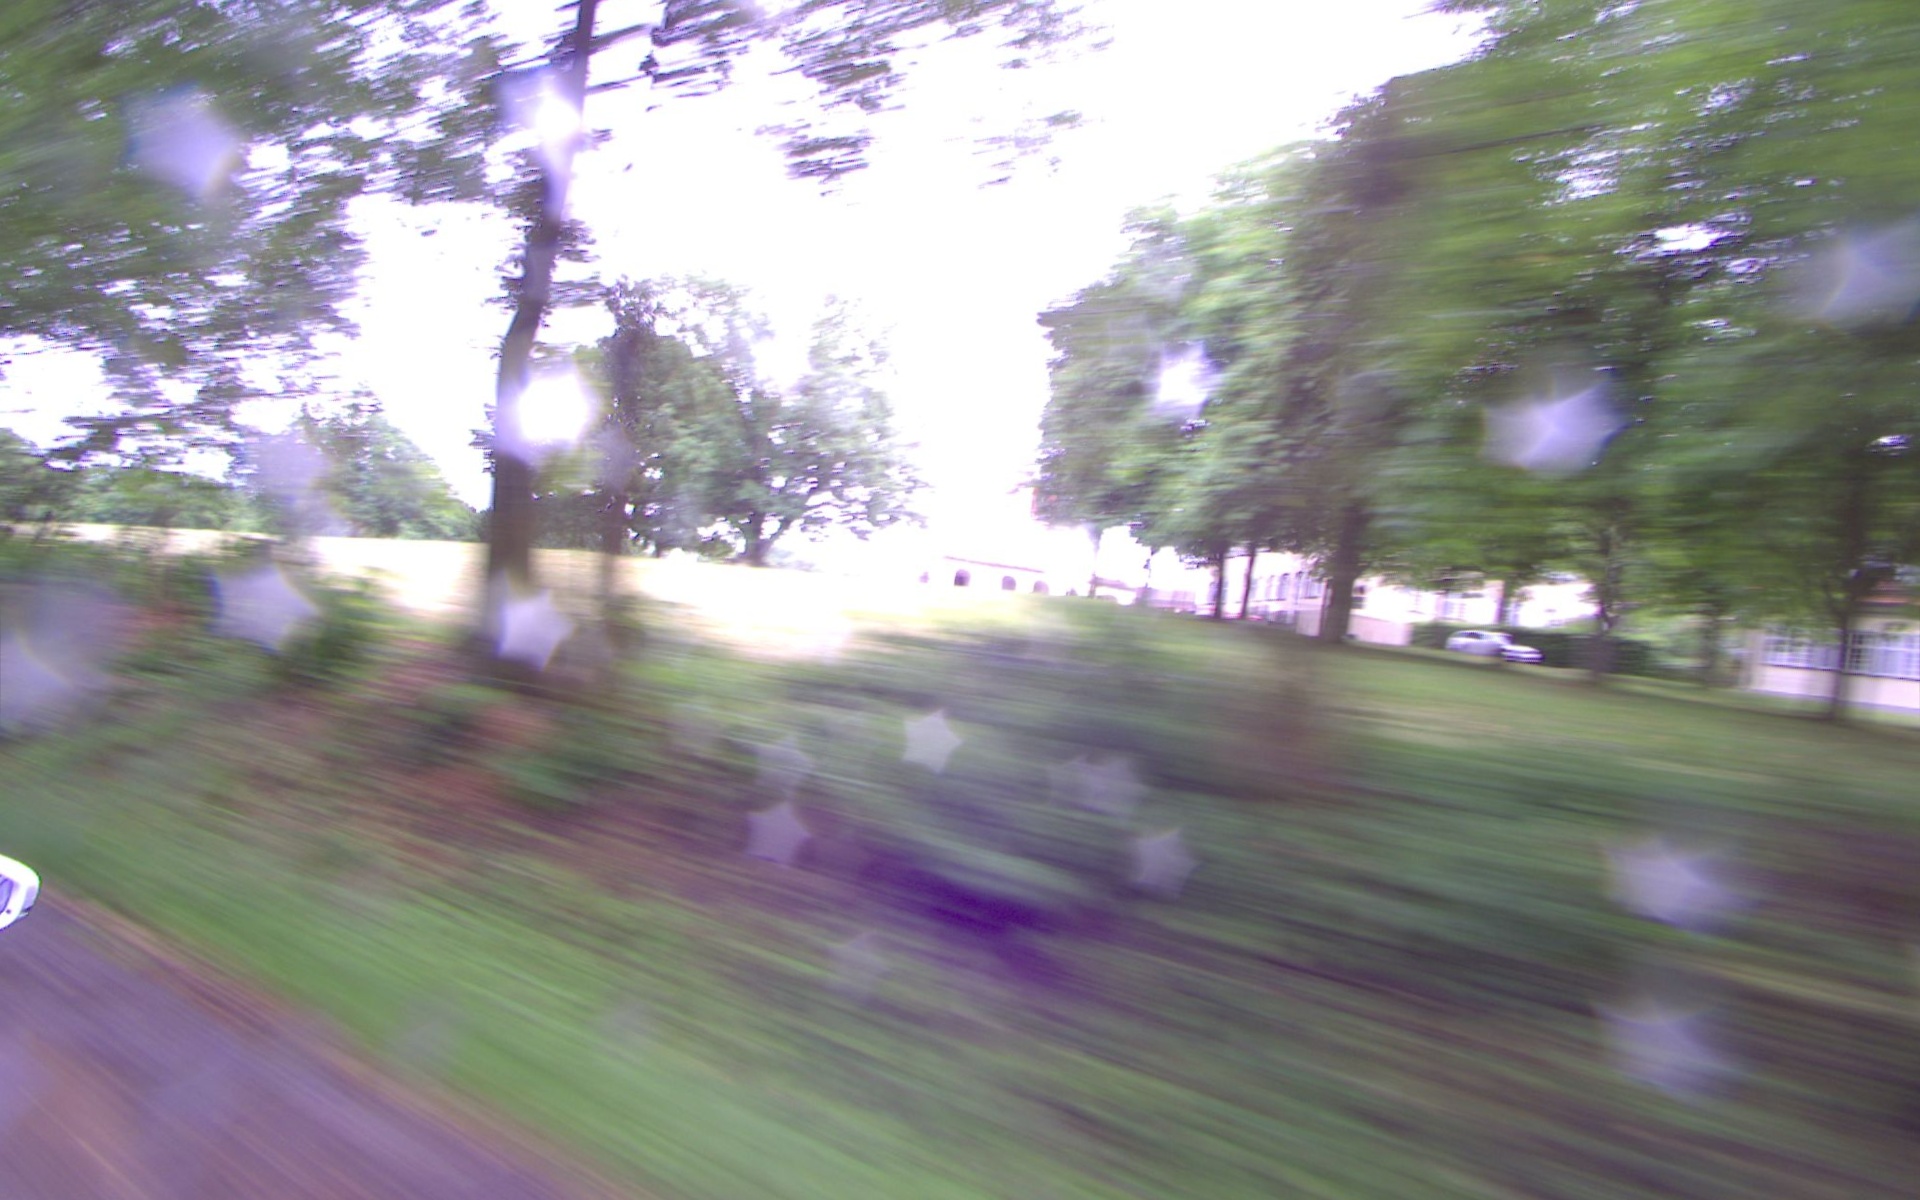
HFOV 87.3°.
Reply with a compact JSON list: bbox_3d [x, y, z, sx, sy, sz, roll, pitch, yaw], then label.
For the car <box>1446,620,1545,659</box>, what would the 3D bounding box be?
[{"bbox_3d":[26.997,1.973,50.891,1.968,1.446,4.281,6,1,-13],"label":"car"}]
